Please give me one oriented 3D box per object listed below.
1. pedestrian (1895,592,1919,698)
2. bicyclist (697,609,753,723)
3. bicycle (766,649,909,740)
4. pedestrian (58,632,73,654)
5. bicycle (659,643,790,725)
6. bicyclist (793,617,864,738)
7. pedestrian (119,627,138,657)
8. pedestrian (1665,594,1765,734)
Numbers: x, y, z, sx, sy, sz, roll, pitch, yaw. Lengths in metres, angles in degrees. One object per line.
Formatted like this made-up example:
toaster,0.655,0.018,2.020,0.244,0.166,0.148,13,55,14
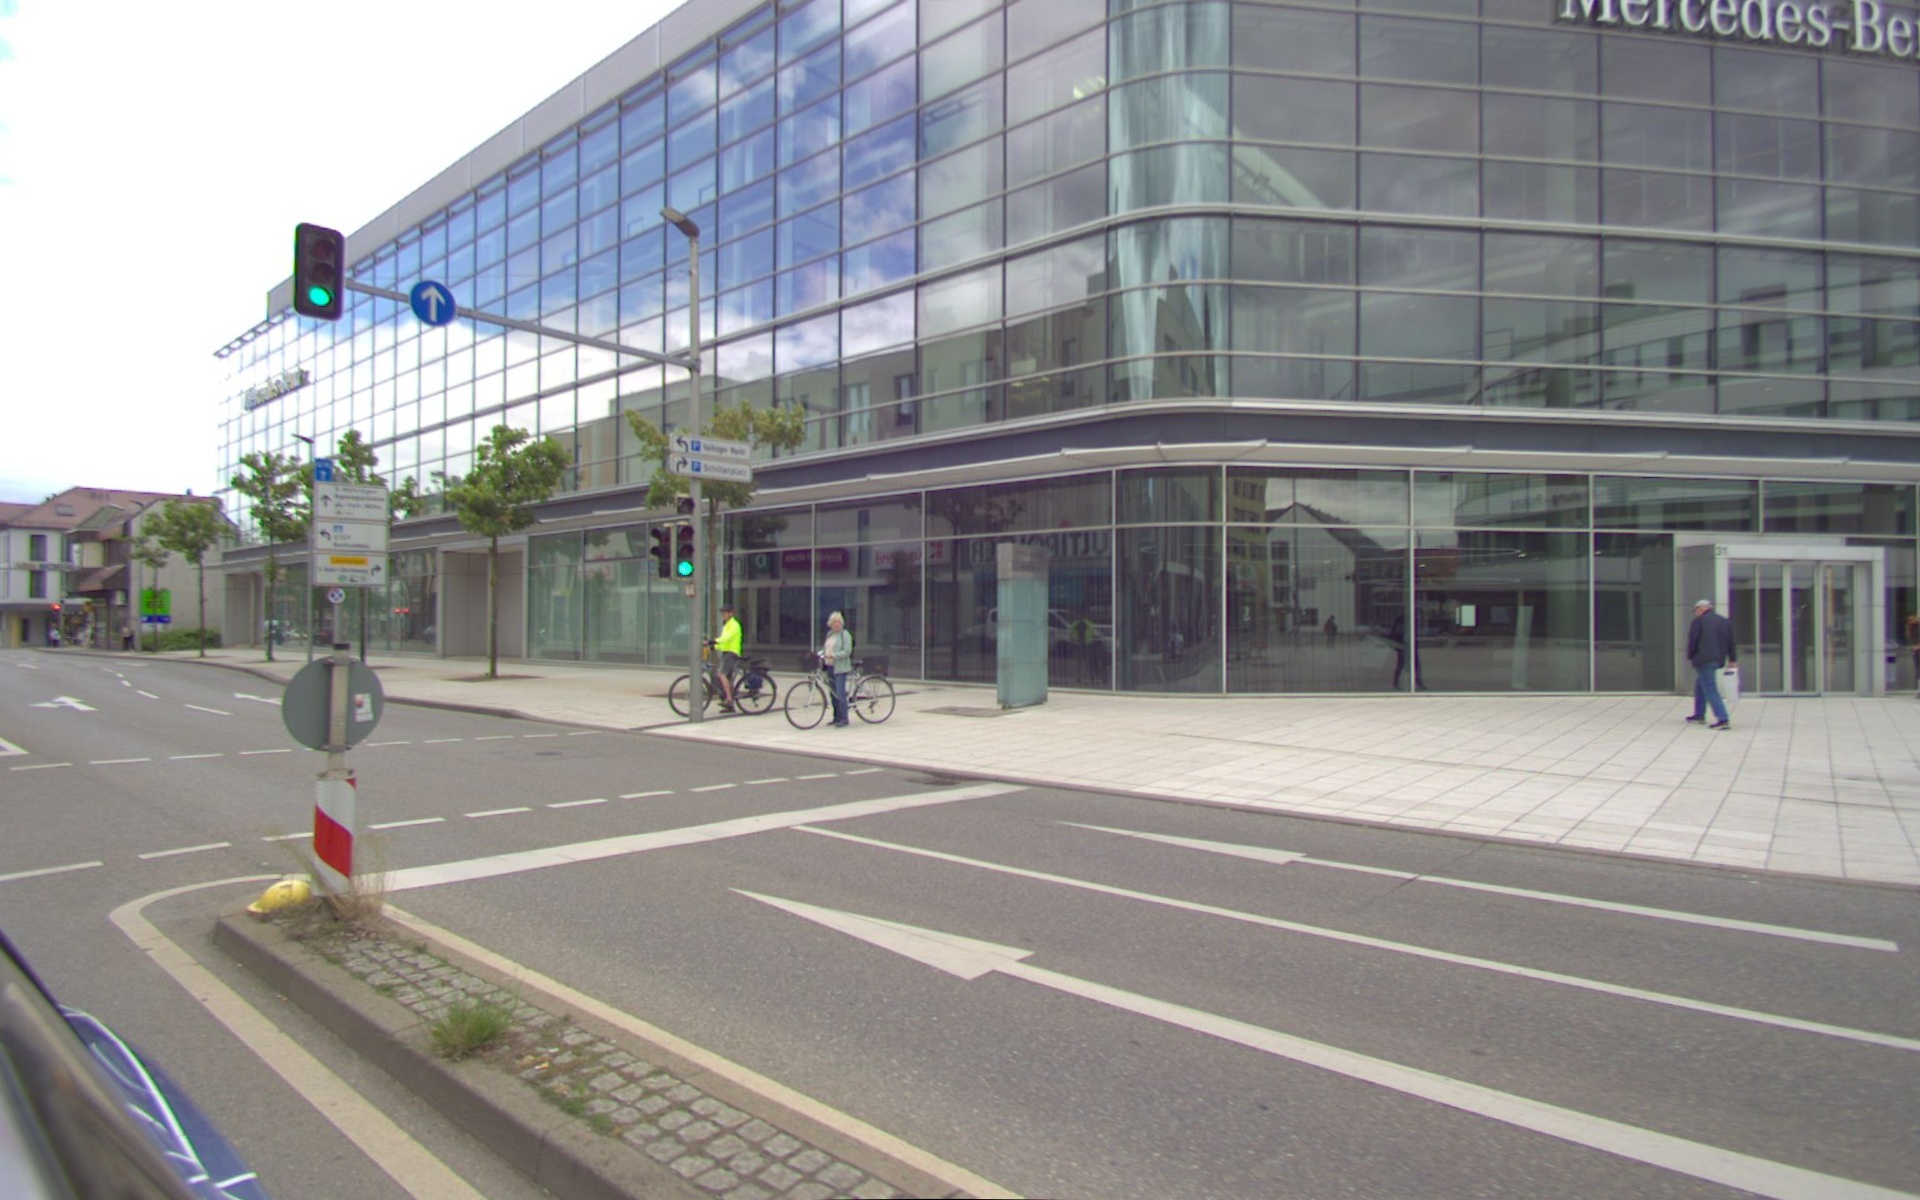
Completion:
pedestrian,18.066,0.822,18.870,0.746,1.960,0.680,-1,-1,28
bicyclist,-3.882,1.075,16.779,0.762,1.813,0.748,-2,0,-5
bicycle,-1.770,1.344,14.790,1.973,1.139,0.640,-2,0,-34
pedestrian,-64.836,3.117,73.343,0.577,1.527,0.552,0,-2,8
bicycle,-3.871,1.368,16.763,2.000,1.215,0.748,-2,0,-5
bicyclist,-1.906,1.095,14.693,0.771,1.661,0.640,-2,0,-34
pedestrian,-46.292,2.319,56.361,0.693,1.636,0.693,-2,-3,40
pedestrian,10.937,0.898,14.691,0.740,1.960,0.902,-1,-1,2
